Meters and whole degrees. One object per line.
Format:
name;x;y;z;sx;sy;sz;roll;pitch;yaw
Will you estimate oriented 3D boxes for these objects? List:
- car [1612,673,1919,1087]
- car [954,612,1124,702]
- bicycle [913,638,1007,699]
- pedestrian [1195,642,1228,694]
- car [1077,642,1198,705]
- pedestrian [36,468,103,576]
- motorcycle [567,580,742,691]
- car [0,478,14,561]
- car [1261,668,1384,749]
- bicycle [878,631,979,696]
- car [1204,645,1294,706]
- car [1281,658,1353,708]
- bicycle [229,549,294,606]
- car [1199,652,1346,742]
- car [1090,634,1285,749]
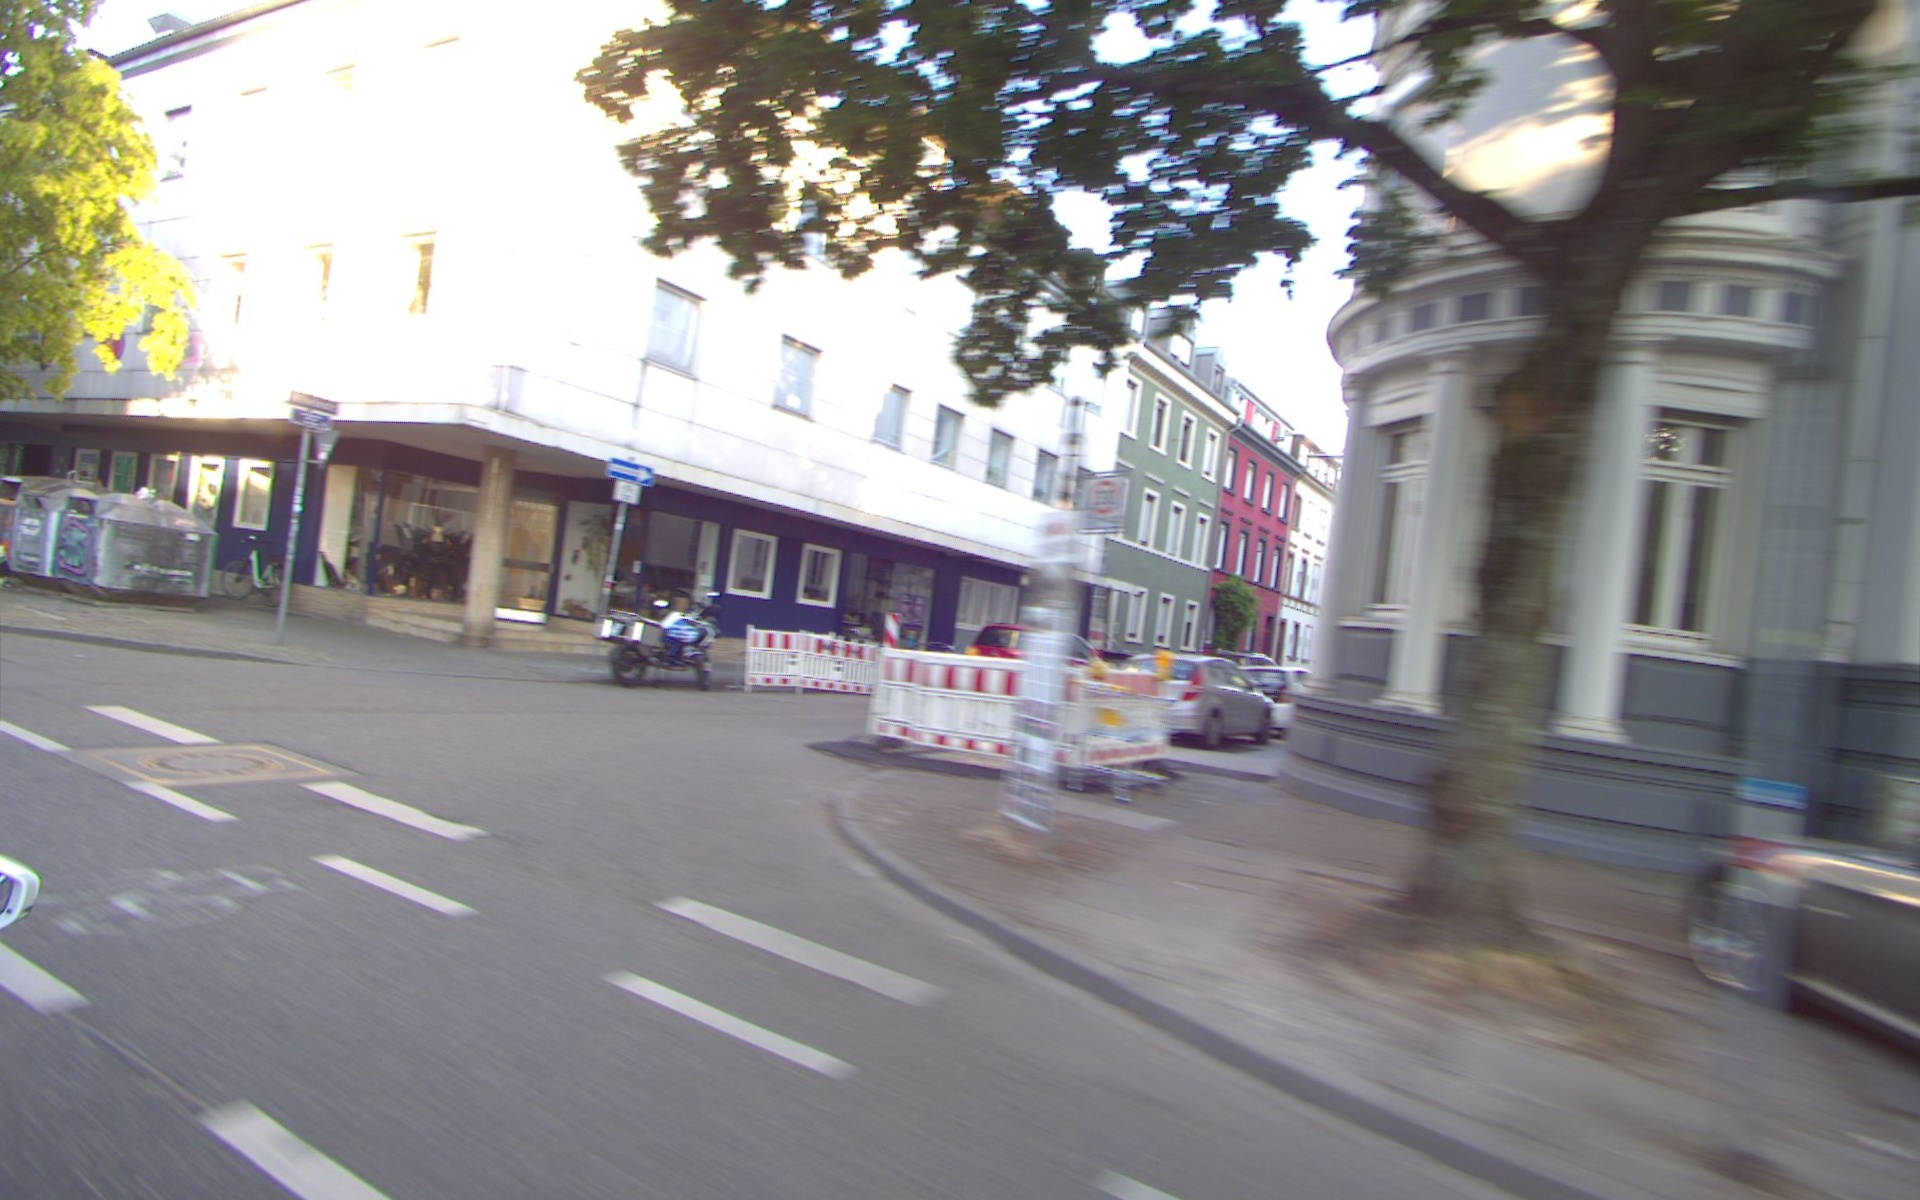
car;4.899;1.351;3.713;1.828;1.532;4.605;8;1;0
car;1.965;1.408;23.823;1.826;1.688;4.348;7;-1;37
bicycle;-0.005;1.448;21.431;1.838;1.069;0.526;6;-1;25
pedestrian;9.982;2.708;39.950;0.787;1.923;0.990;7;0;33
car;5.068;2.108;28.325;1.824;1.402;3.889;7;-1;34
pedestrian;-17.629;-1.536;19.917;0.772;2.011;0.692;7;2;28
motorcycle;-4.624;0.567;15.366;1.270;1.421;2.093;6;-2;35
car;-20.460;-1.693;18.786;1.809;1.685;4.161;6;1;-6
car;9.027;2.674;24.896;1.824;1.596;3.889;7;-1;34
bicycle;-0.671;1.292;20.682;2.066;1.069;0.590;6;-1;37
car;10.368;2.743;35.914;1.824;1.826;3.889;7;-1;34
car;15.458;3.611;43.443;1.824;1.784;3.889;7;-1;34
bicycle;-12.673;-0.403;18.241;1.303;0.894;0.341;7;3;26
car;6.740;2.072;21.464;1.824;1.510;3.889;7;-1;34
car;3.983;1.564;17.170;1.824;1.509;3.889;7;-1;34
